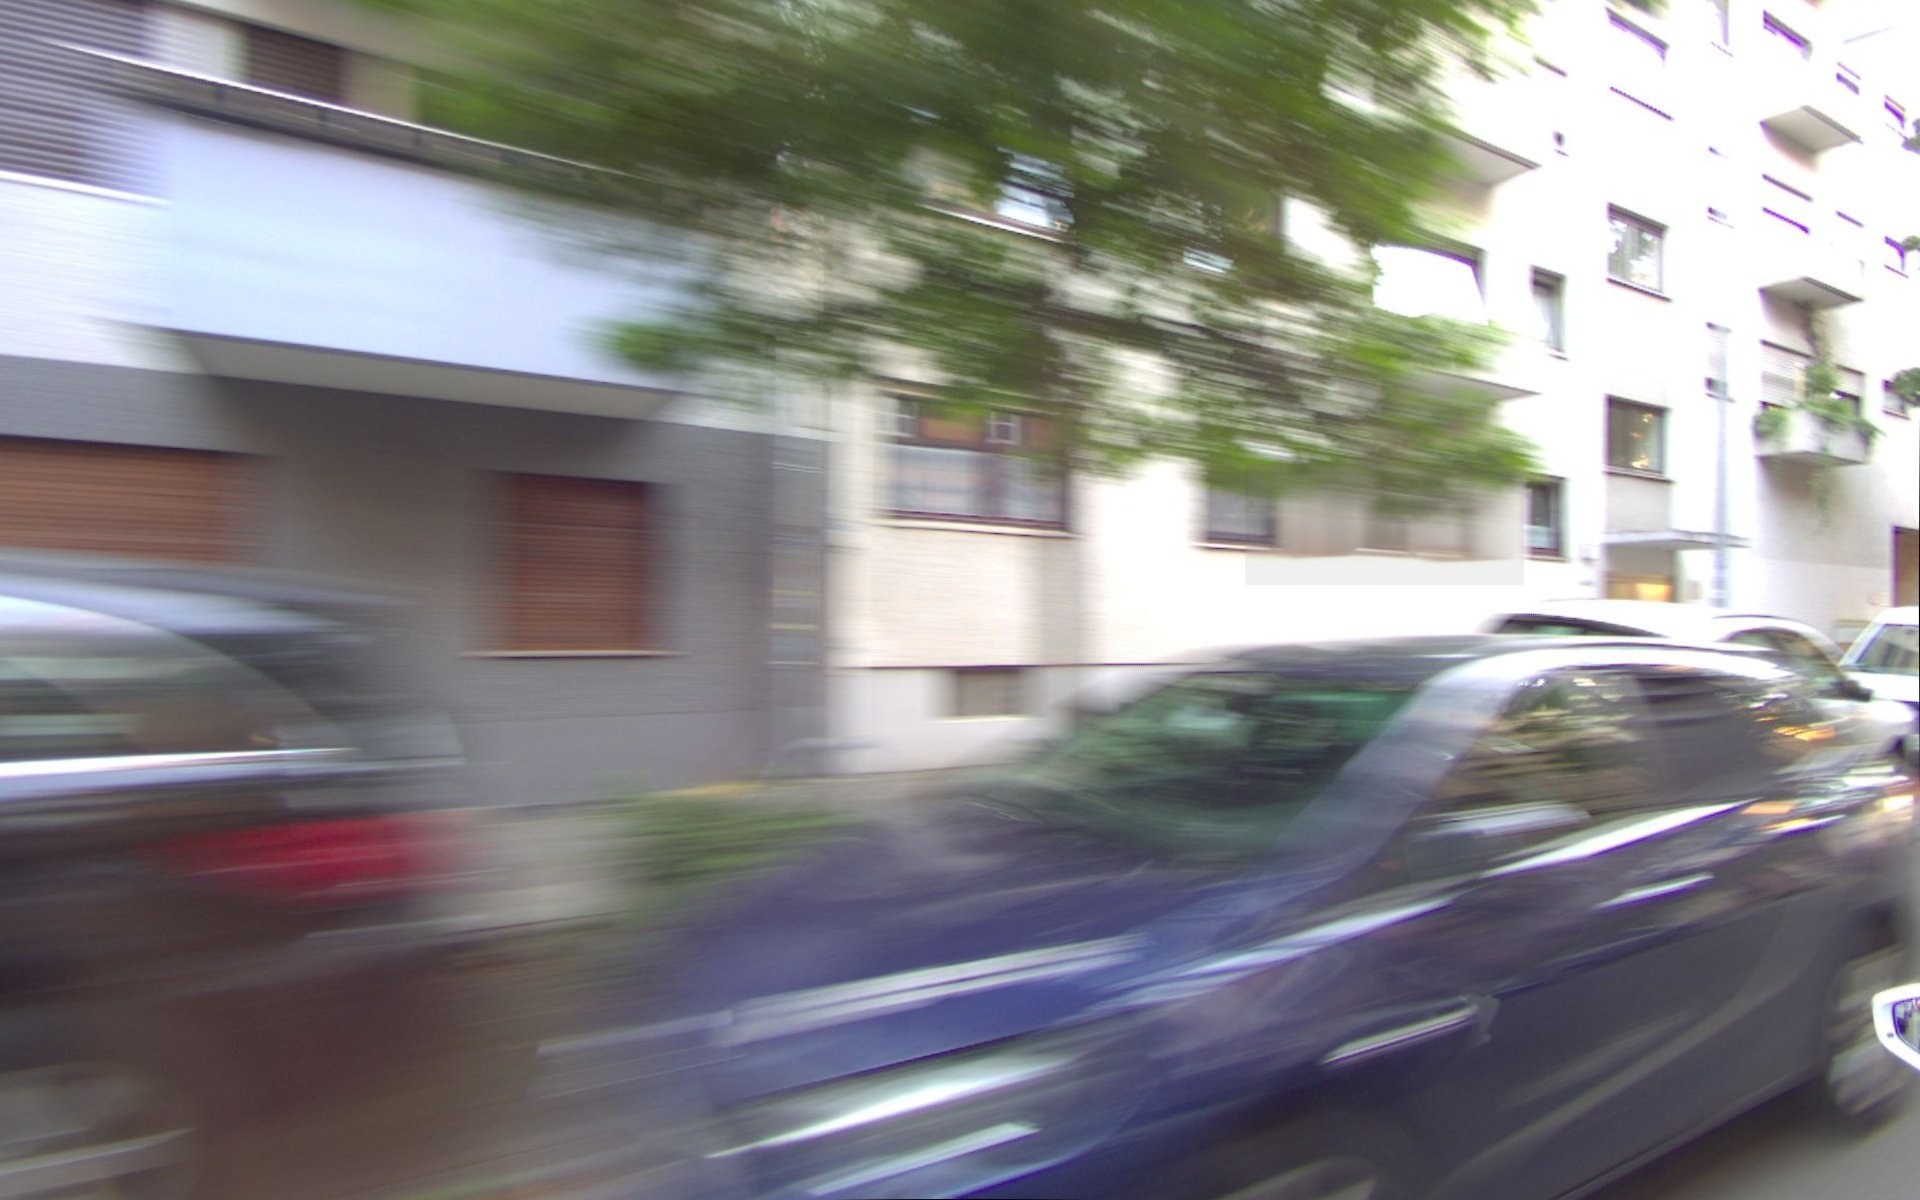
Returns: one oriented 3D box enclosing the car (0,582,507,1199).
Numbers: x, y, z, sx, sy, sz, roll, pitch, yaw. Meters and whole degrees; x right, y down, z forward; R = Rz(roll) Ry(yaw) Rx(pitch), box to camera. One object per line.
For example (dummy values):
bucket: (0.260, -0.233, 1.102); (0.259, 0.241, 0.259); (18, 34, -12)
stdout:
car: (-3.704, 0.775, 2.097); (4.864, 1.668, 1.984); (1, 0, -30)

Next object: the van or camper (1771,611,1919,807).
van or camper: (10.734, 1.051, 10.653); (4.414, 1.783, 1.921); (1, 2, -31)

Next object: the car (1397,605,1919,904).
car: (5.822, 0.935, 7.980); (4.595, 1.695, 2.023); (1, 1, -31)

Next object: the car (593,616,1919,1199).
car: (1.346, 0.855, 3.180); (4.464, 1.537, 1.821); (1, -2, -31)
